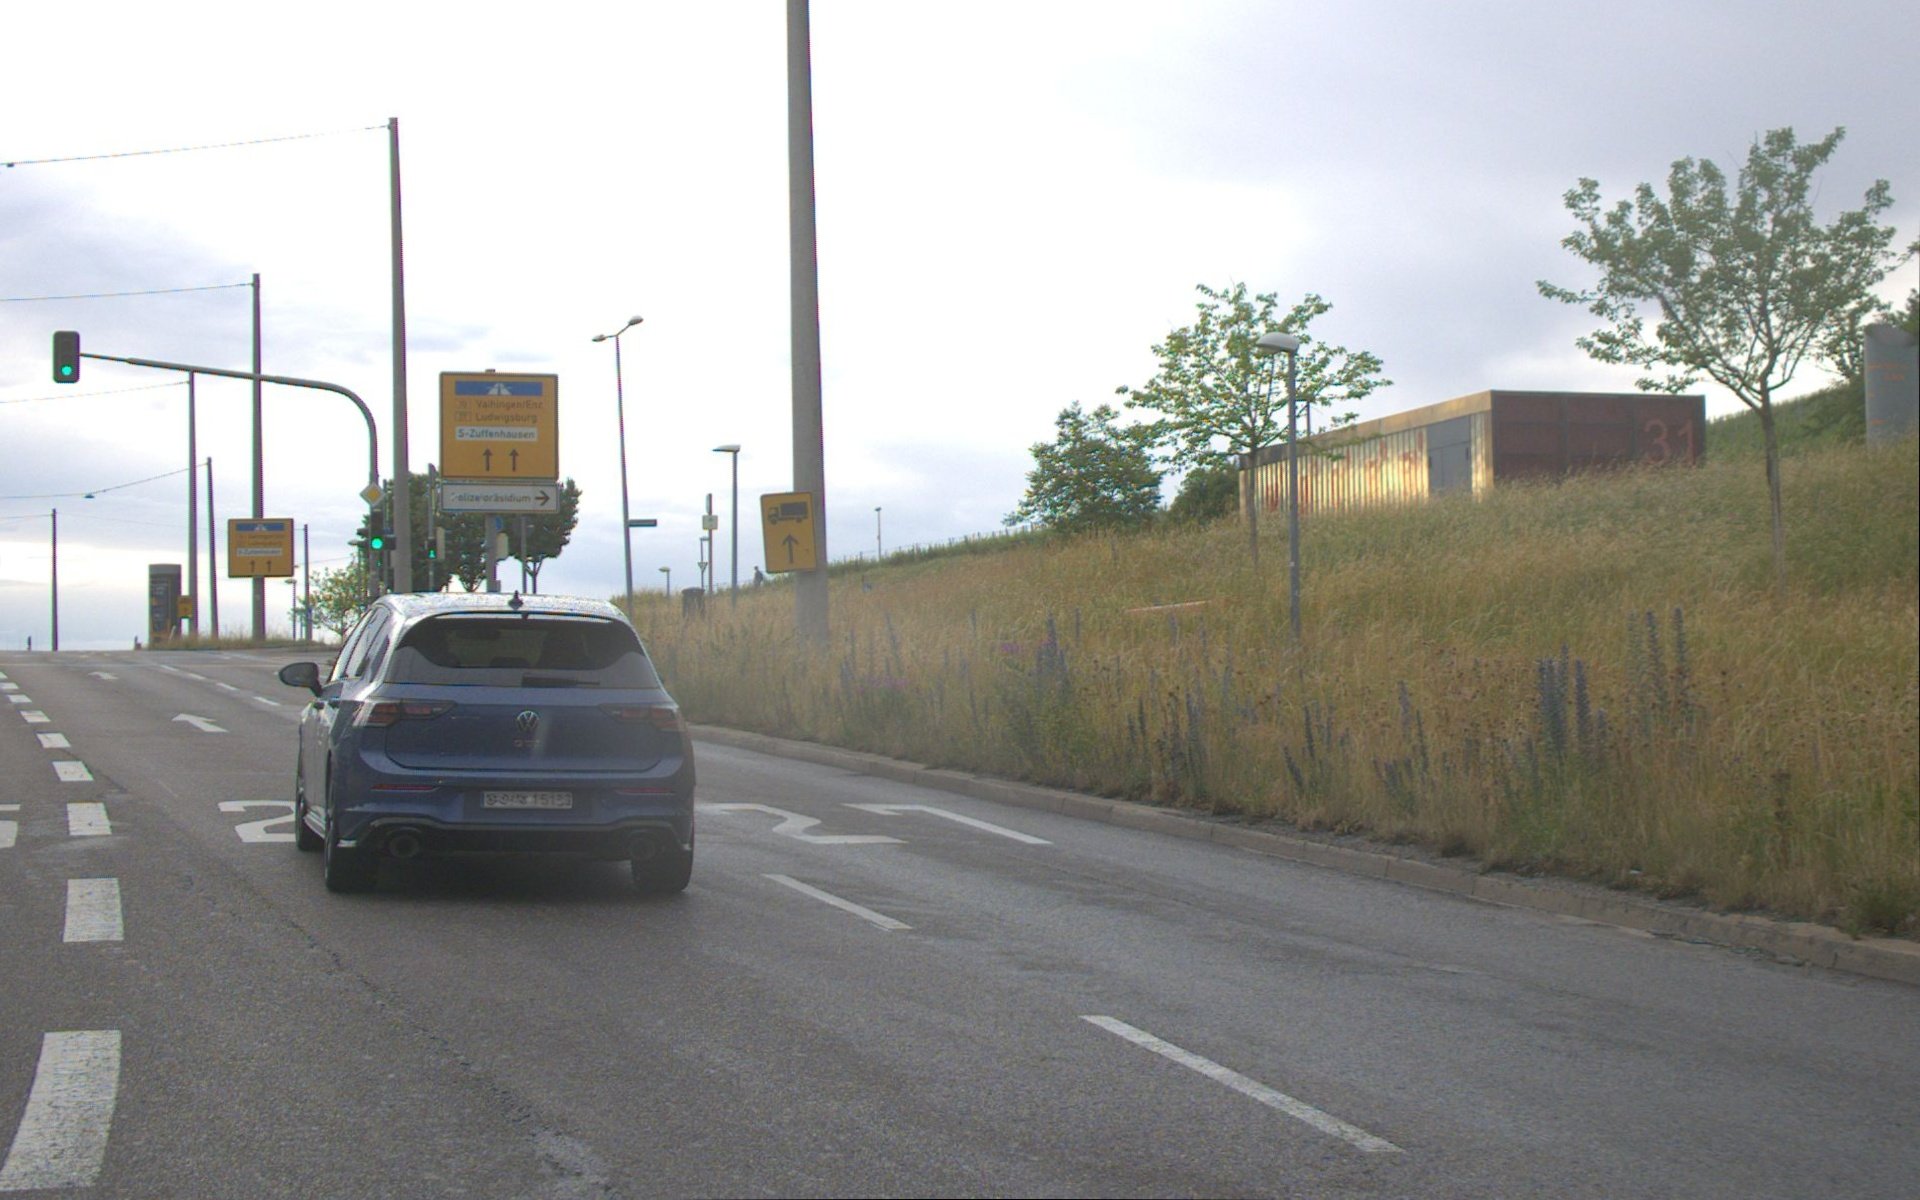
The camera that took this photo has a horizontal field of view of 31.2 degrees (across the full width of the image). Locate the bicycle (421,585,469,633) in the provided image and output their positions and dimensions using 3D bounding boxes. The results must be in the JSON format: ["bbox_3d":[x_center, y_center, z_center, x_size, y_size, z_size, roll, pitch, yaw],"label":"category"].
[{"bbox_3d":[-12.115,0.212,80.834,0.632,1.101,1.753,0,0,-25],"label":"bicycle"}]

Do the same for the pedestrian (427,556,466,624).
[{"bbox_3d":[-12.045,-0.228,80.634,0.632,1.565,0.896,-1,0,-25],"label":"pedestrian"}]

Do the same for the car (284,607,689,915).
[{"bbox_3d":[-2.463,0.736,17.733,1.837,1.389,4.001,0,0,-9],"label":"car"}]
